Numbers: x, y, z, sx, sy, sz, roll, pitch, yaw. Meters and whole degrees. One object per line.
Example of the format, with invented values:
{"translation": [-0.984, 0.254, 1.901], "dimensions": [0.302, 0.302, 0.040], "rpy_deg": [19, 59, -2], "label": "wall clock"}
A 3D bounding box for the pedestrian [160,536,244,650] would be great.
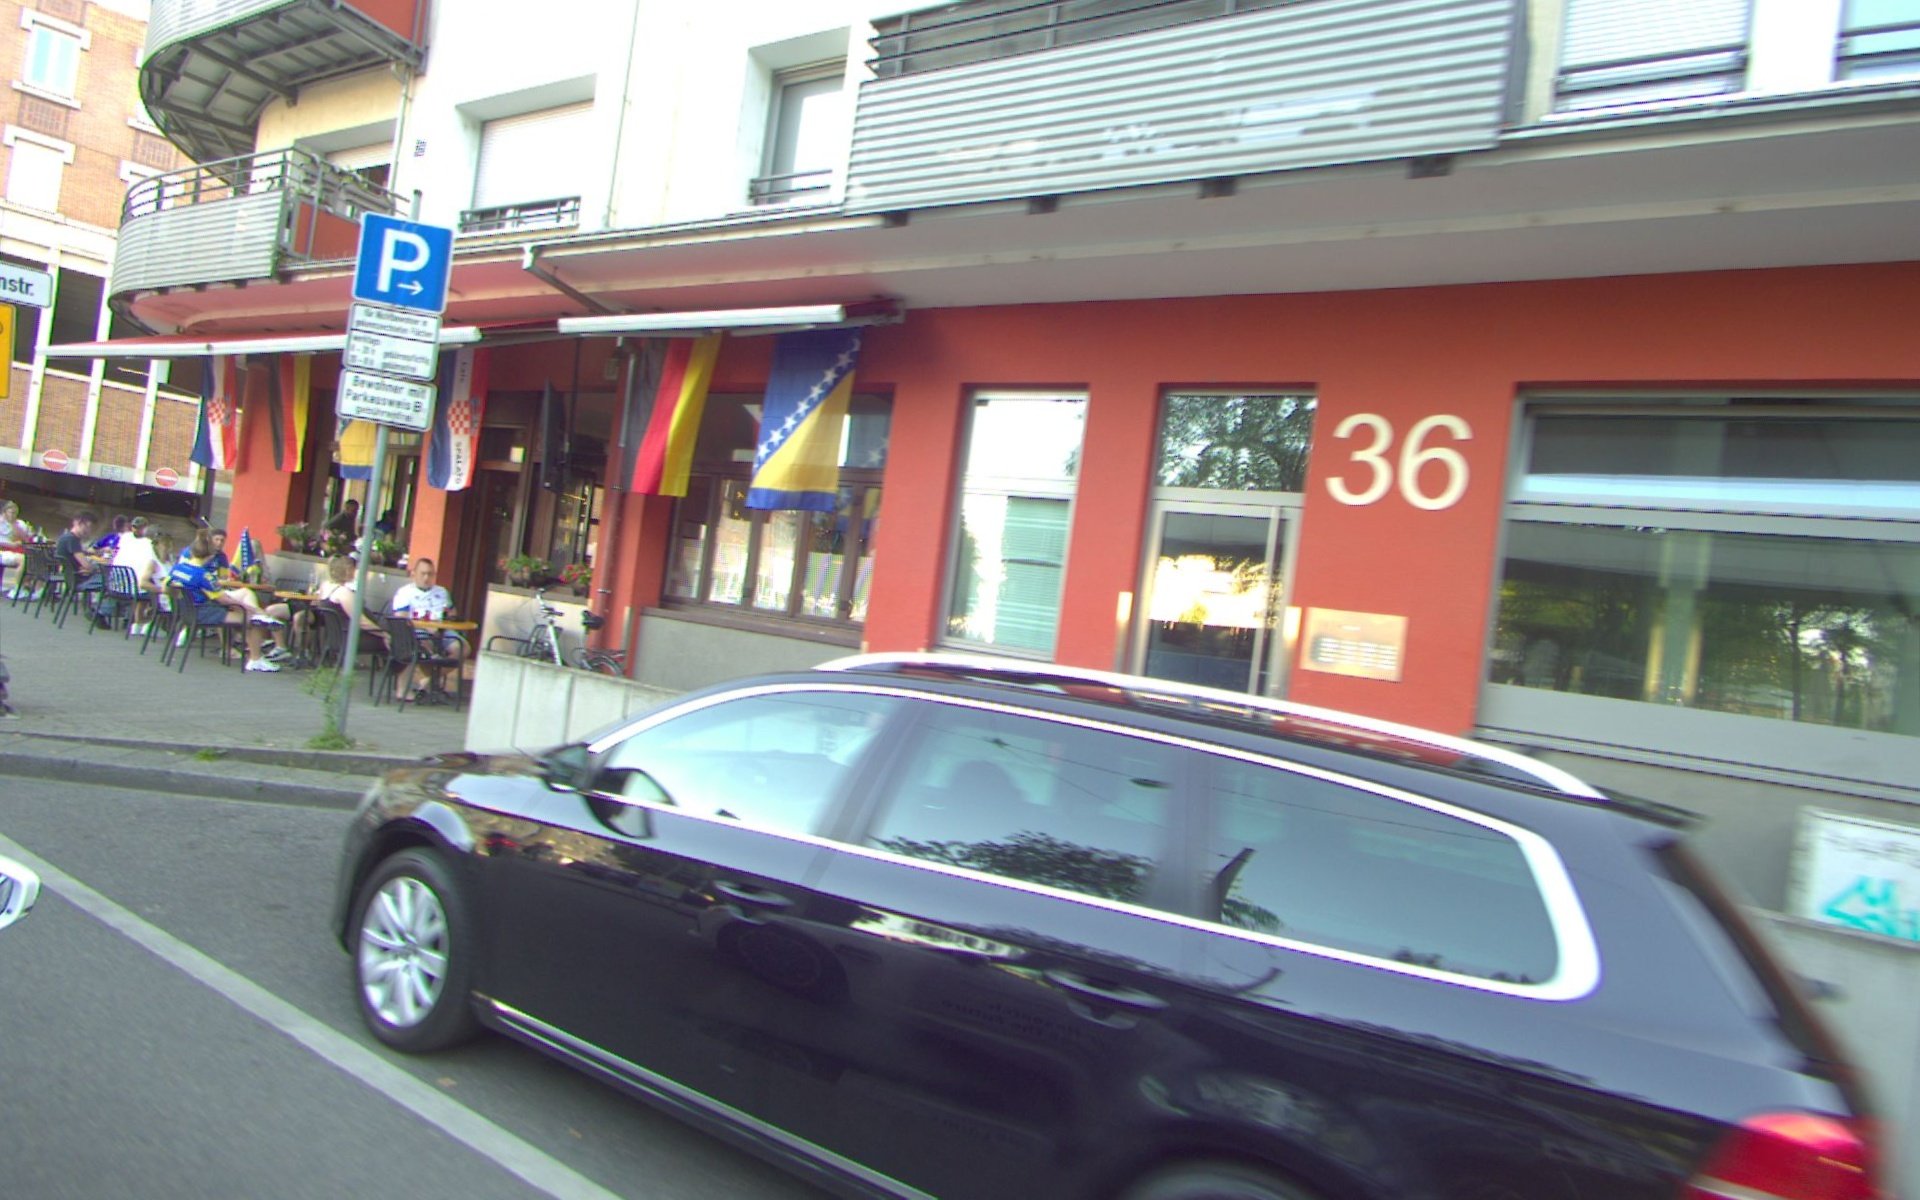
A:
{"translation": [-8.591, -0.083, 11.412], "dimensions": [0.560, 1.217, 0.417], "rpy_deg": [6, 2, -12], "label": "pedestrian"}

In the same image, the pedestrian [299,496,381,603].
{"translation": [-10.362, -0.829, 16.831], "dimensions": [0.675, 1.625, 0.716], "rpy_deg": [8, -2, 3], "label": "pedestrian"}

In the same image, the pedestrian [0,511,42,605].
{"translation": [-12.576, -0.582, 12.973], "dimensions": [0.609, 1.163, 0.890], "rpy_deg": [8, 0, 37], "label": "pedestrian"}

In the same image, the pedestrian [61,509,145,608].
{"translation": [-12.237, -0.584, 14.384], "dimensions": [0.611, 1.294, 0.697], "rpy_deg": [8, 0, -23], "label": "pedestrian"}

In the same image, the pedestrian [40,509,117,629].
{"translation": [-10.129, -0.350, 11.558], "dimensions": [0.411, 1.320, 0.491], "rpy_deg": [7, 2, 30], "label": "pedestrian"}

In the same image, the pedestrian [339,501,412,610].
{"translation": [-9.420, -0.709, 16.224], "dimensions": [0.598, 1.625, 0.534], "rpy_deg": [8, -2, 9], "label": "pedestrian"}

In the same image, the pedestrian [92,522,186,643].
{"translation": [-9.375, -0.199, 11.507], "dimensions": [0.502, 1.293, 0.626], "rpy_deg": [6, 2, -7], "label": "pedestrian"}

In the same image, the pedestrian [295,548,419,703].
{"translation": [-5.446, 0.239, 9.091], "dimensions": [0.600, 1.302, 0.686], "rpy_deg": [7, 0, 39], "label": "pedestrian"}

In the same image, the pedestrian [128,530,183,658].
{"translation": [-8.292, -0.060, 10.379], "dimensions": [0.341, 1.273, 0.356], "rpy_deg": [5, 3, -35], "label": "pedestrian"}

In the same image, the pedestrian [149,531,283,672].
{"translation": [-7.217, 0.028, 9.781], "dimensions": [0.483, 1.273, 0.859], "rpy_deg": [7, 2, 30], "label": "pedestrian"}

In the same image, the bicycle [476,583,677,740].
{"translation": [-3.393, 0.513, 8.862], "dimensions": [1.712, 1.168, 0.536], "rpy_deg": [5, 0, 26], "label": "bicycle"}

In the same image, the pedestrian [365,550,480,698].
{"translation": [-5.329, 0.242, 9.983], "dimensions": [0.684, 1.365, 0.607], "rpy_deg": [7, 1, 29], "label": "pedestrian"}

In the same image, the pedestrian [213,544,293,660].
{"translation": [-7.863, 0.014, 11.195], "dimensions": [0.529, 1.217, 0.417], "rpy_deg": [6, 2, -13], "label": "pedestrian"}

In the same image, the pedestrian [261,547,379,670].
{"translation": [-7.007, 0.100, 11.030], "dimensions": [0.702, 1.239, 0.779], "rpy_deg": [7, 2, 30], "label": "pedestrian"}

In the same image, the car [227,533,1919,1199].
{"translation": [-0.033, 0.893, 3.151], "dimensions": [4.709, 1.518, 1.771], "rpy_deg": [7, -4, 30], "label": "car"}

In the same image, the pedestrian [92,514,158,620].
{"translation": [-10.934, -0.433, 13.171], "dimensions": [0.514, 1.292, 0.489], "rpy_deg": [8, 0, 43], "label": "pedestrian"}

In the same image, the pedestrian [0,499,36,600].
{"translation": [-13.015, -0.711, 13.554], "dimensions": [0.649, 1.299, 0.617], "rpy_deg": [8, 0, 38], "label": "pedestrian"}

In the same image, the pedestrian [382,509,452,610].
{"translation": [-9.449, -0.689, 17.534], "dimensions": [0.704, 1.625, 0.687], "rpy_deg": [9, -2, -12], "label": "pedestrian"}

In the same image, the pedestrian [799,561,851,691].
{"translation": [-1.816, 0.359, 13.612], "dimensions": [0.420, 1.680, 0.431], "rpy_deg": [8, -2, -1], "label": "pedestrian"}
